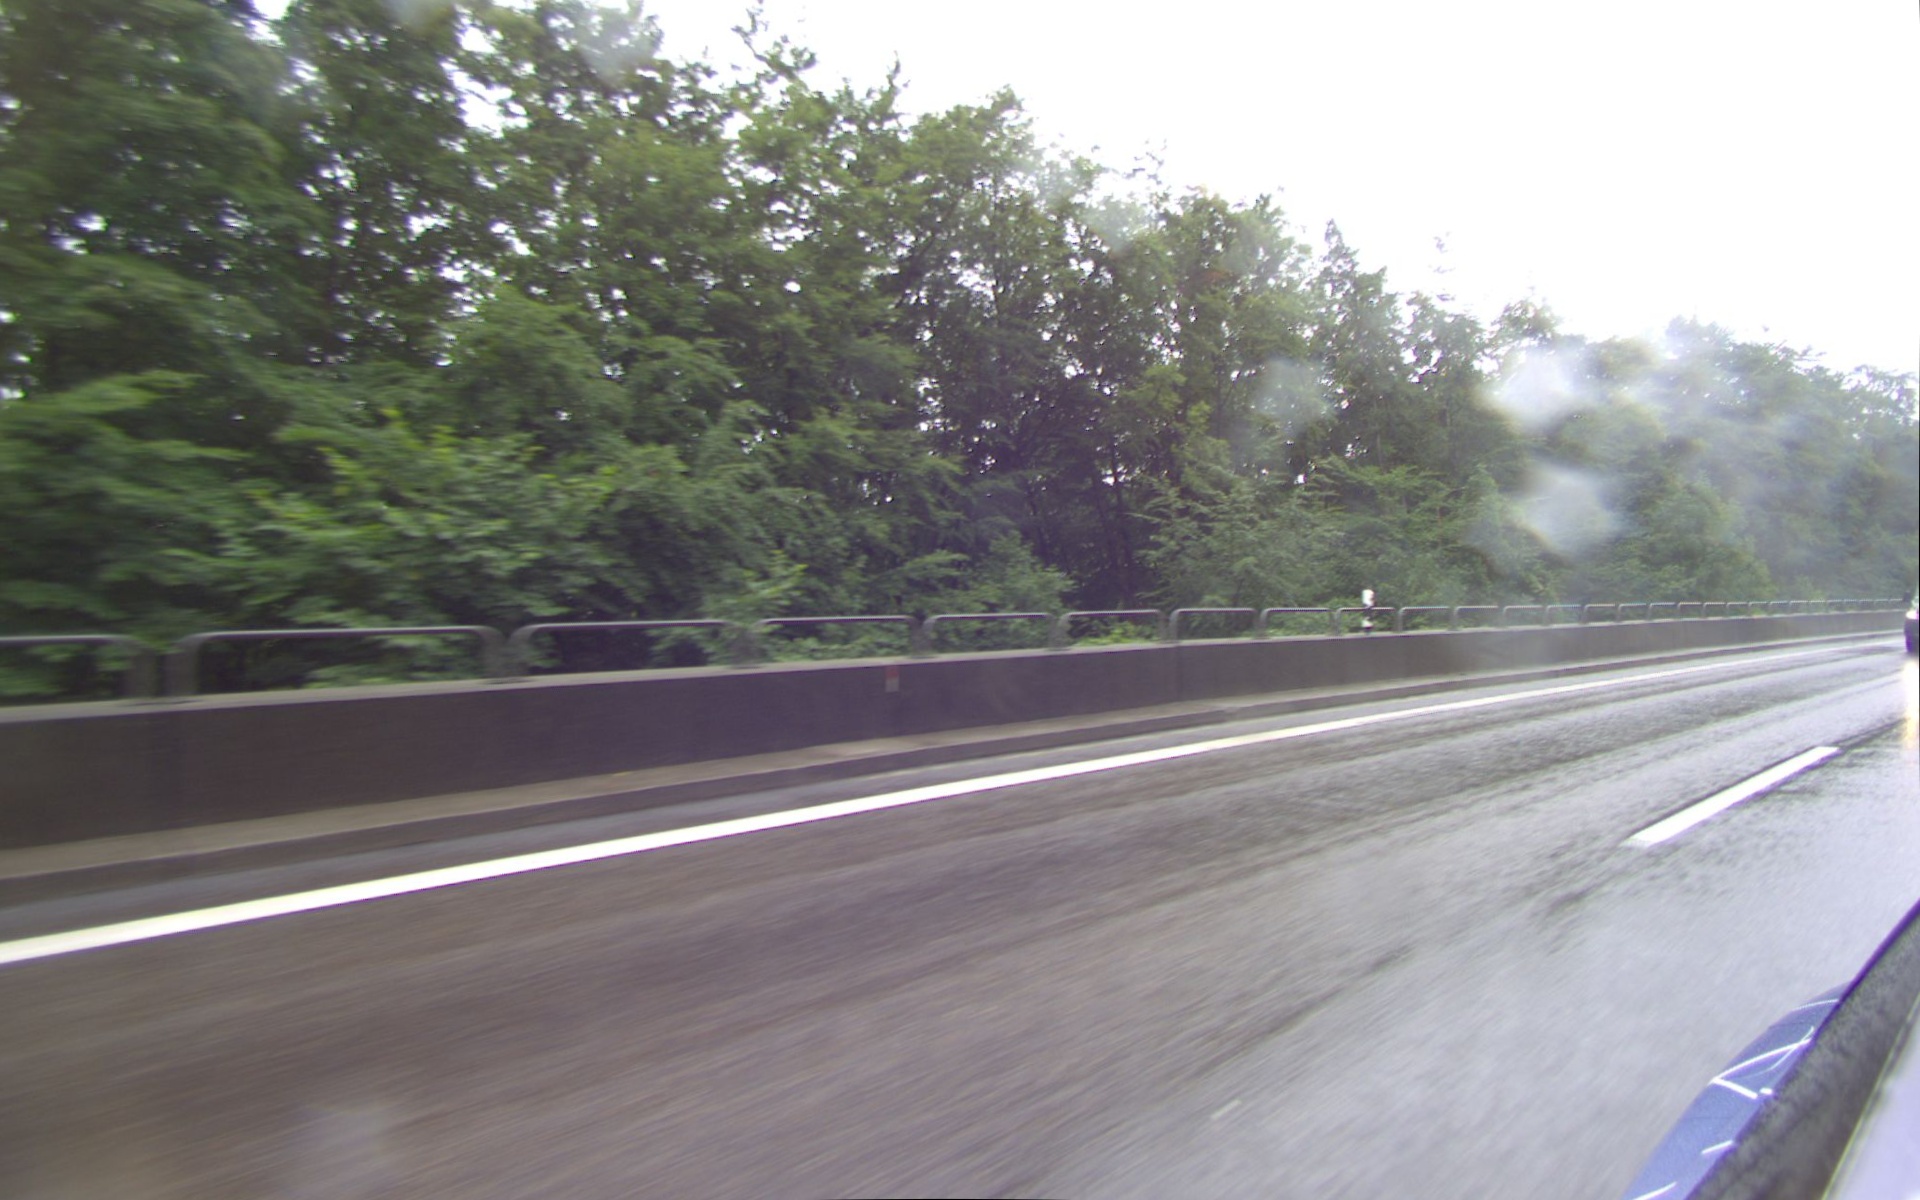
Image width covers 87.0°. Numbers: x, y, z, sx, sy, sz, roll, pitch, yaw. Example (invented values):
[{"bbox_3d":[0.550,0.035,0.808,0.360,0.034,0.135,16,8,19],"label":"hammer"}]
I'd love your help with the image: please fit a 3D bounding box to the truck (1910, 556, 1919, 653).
[{"bbox_3d":[28.577,0.121,28.017,7.856,2.527,2.109,0,1,-38],"label":"truck"}]
